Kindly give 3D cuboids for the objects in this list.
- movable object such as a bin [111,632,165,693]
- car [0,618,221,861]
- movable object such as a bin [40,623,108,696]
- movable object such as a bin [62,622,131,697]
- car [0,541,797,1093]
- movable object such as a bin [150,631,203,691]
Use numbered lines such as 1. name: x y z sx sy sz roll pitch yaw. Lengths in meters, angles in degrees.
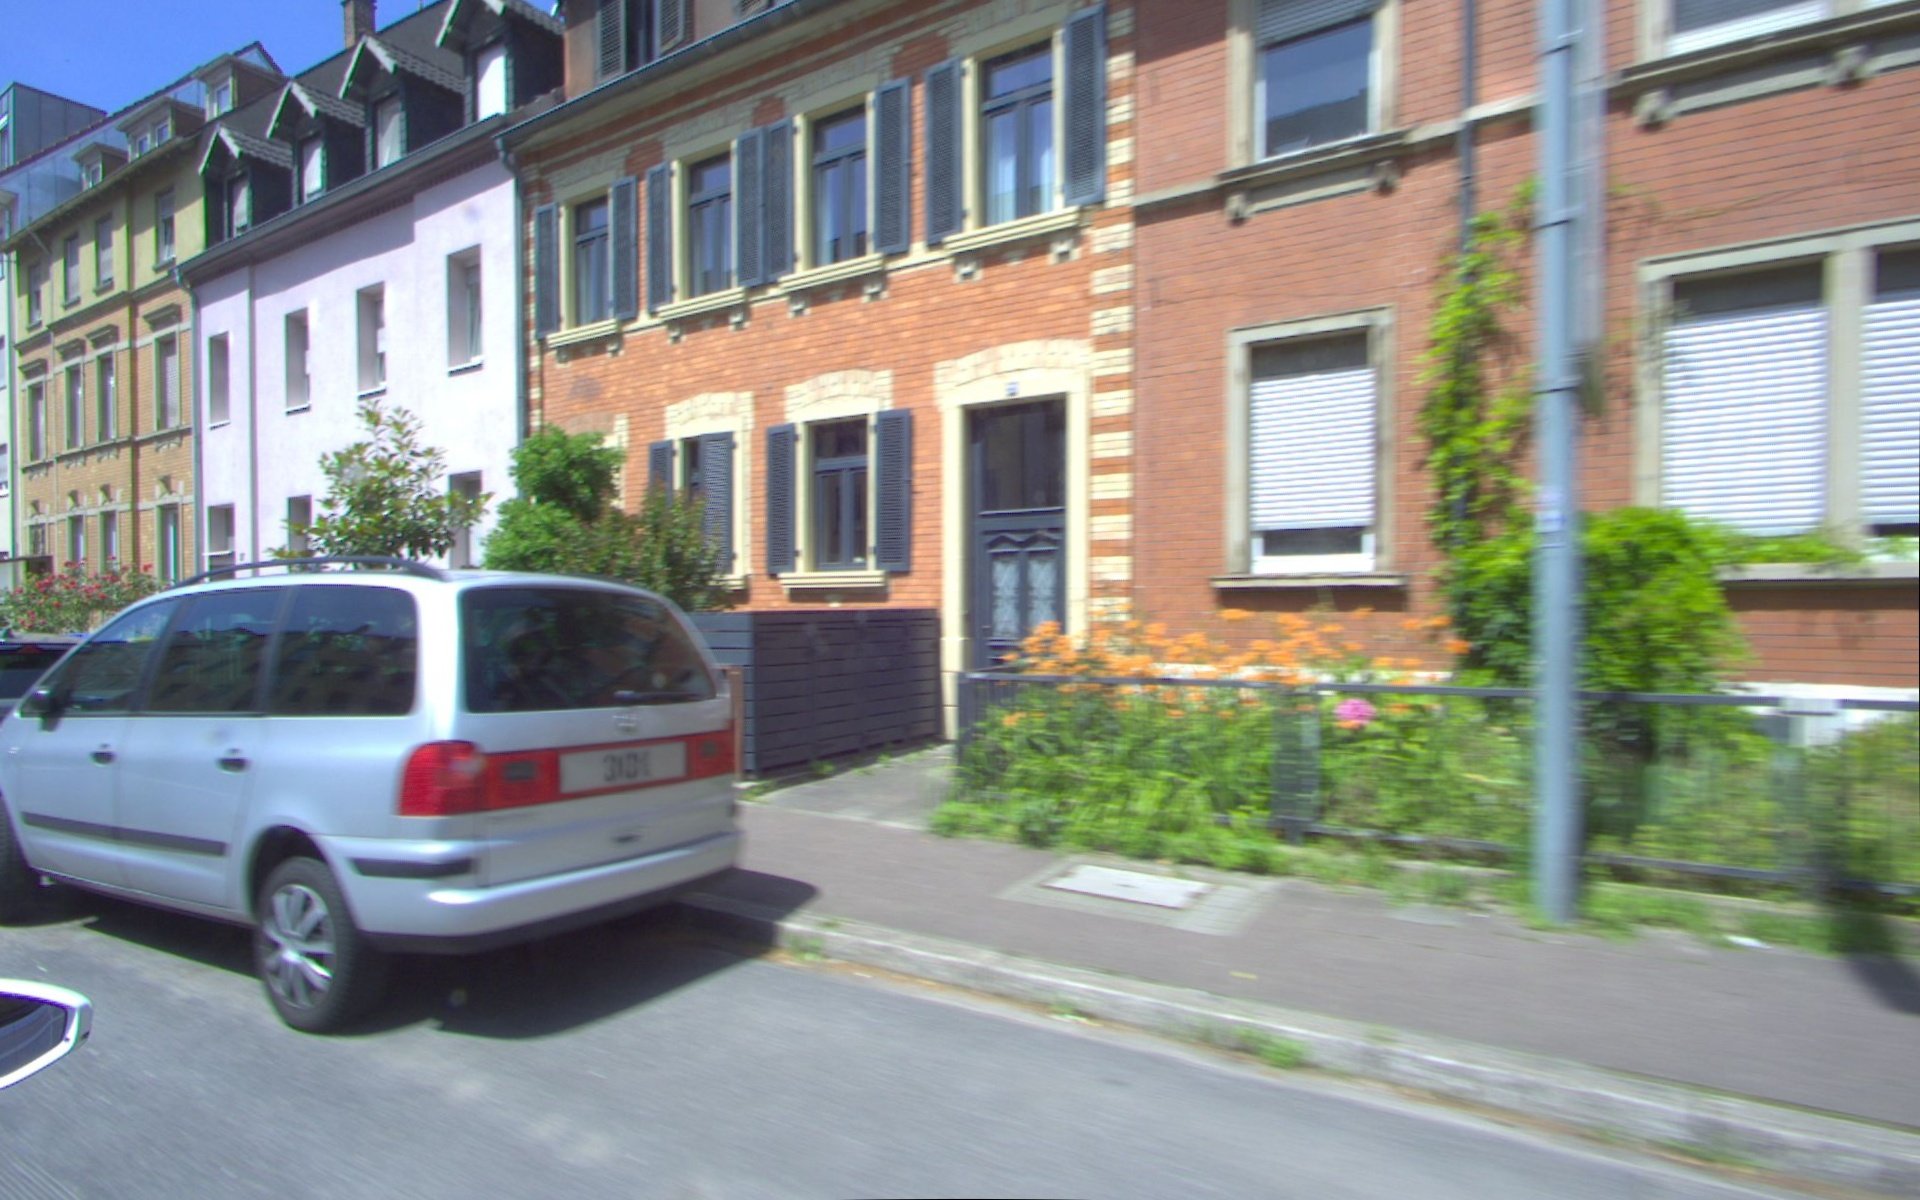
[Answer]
1. movable object such as a bin: -15.005 1.135 18.273 0.658 1.064 0.558 0 1 31
2. car: -7.707 0.891 7.569 4.244 1.506 1.859 0 -1 30
3. movable object such as a bin: -13.952 0.920 15.766 0.674 1.097 0.650 0 1 35
4. movable object such as a bin: -13.260 0.892 15.379 0.674 1.097 0.650 0 1 35
5. car: -3.230 0.725 5.131 4.546 1.770 1.859 0 -1 29
6. movable object such as a bin: -14.703 1.134 18.789 0.658 1.064 0.558 0 1 30
